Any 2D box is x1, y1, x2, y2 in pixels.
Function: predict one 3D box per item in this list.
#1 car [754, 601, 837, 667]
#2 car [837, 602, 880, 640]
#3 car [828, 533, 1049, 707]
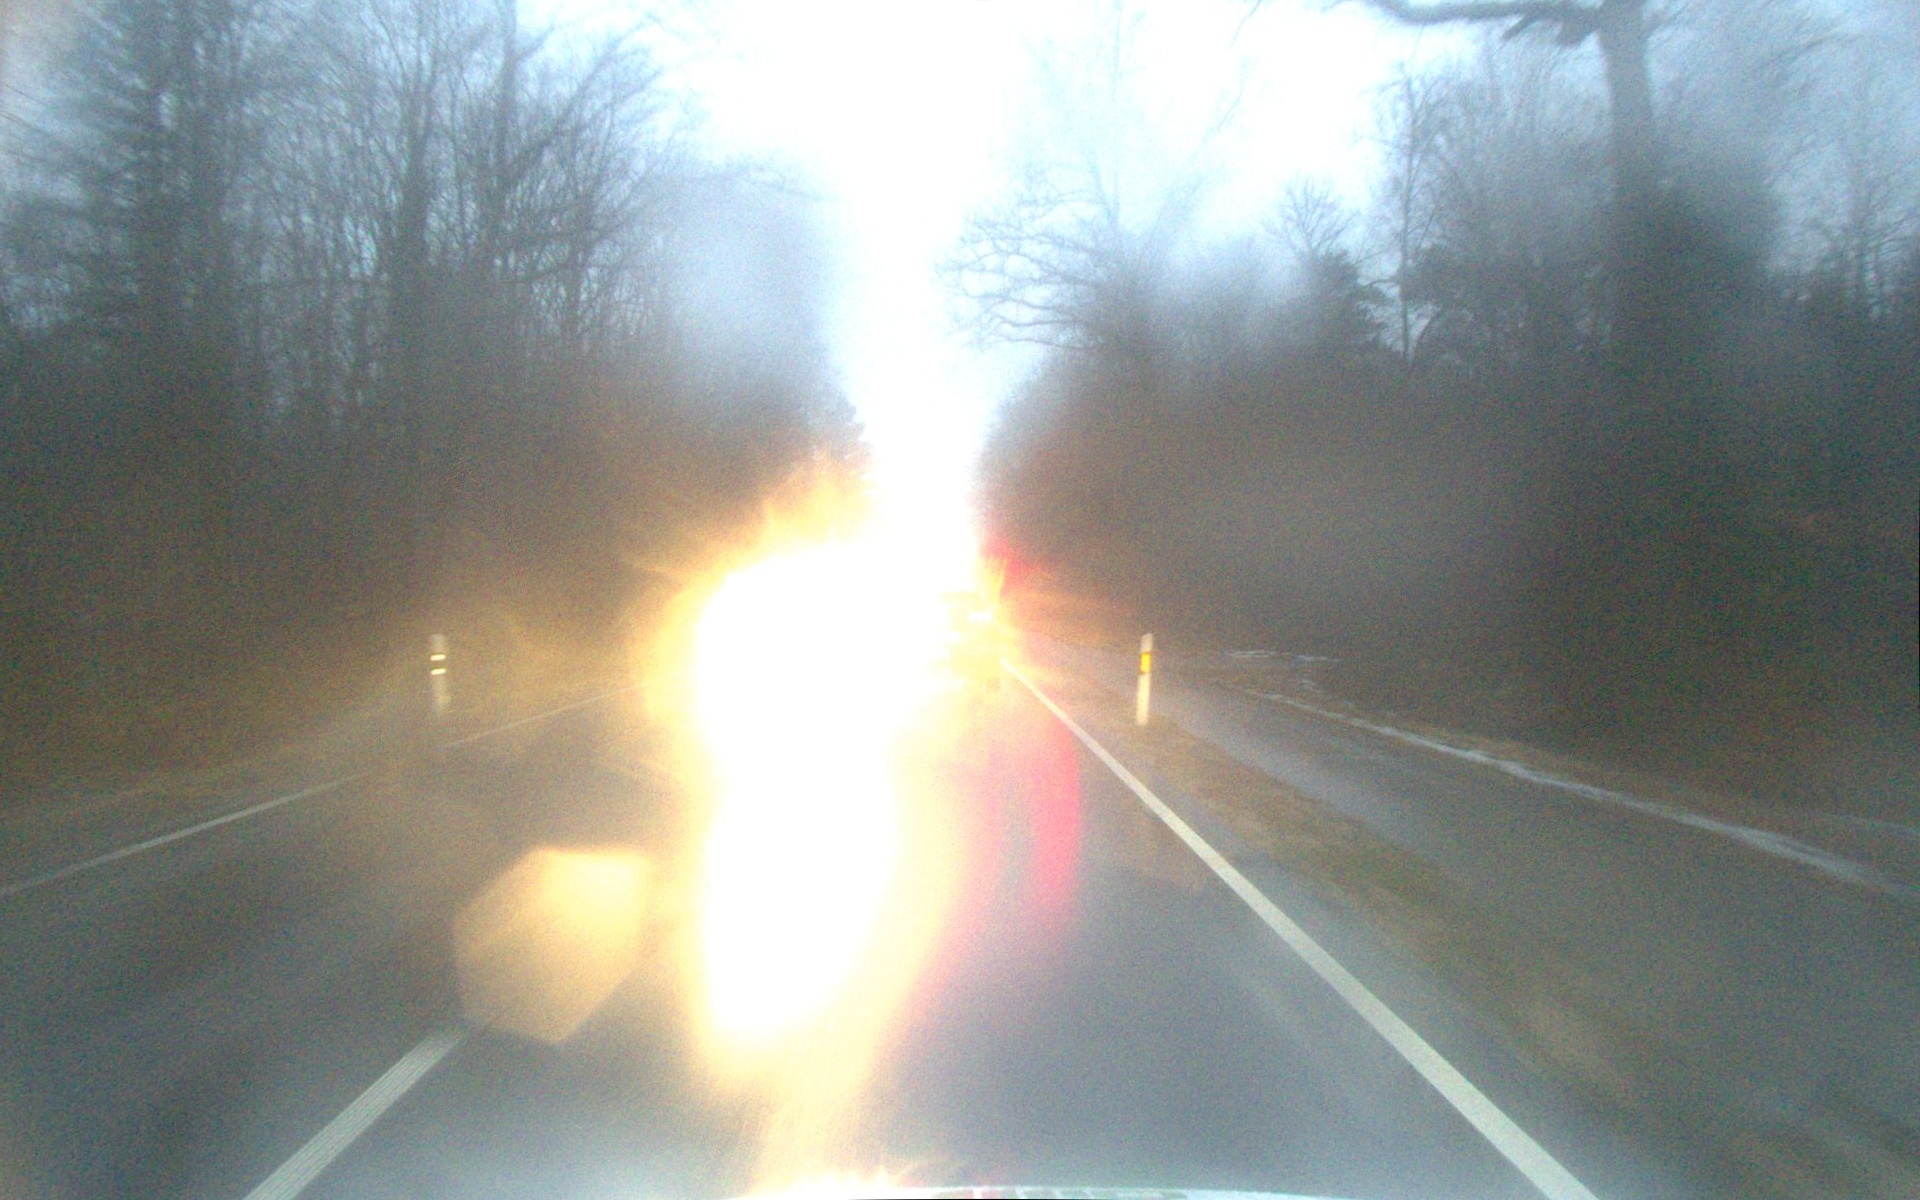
[{"bbox_3d":[-3.941,0.791,40.105,1.657,1.445,3.999,-1,1,-1],"label":"car"},{"bbox_3d":[-4.803,0.974,78.787,1.879,1.636,5.014,-1,1,-2],"label":"car"},{"bbox_3d":[-0.300,0.300,26.859,3.118,2.428,6.636,1,0,0],"label":"car"}]
